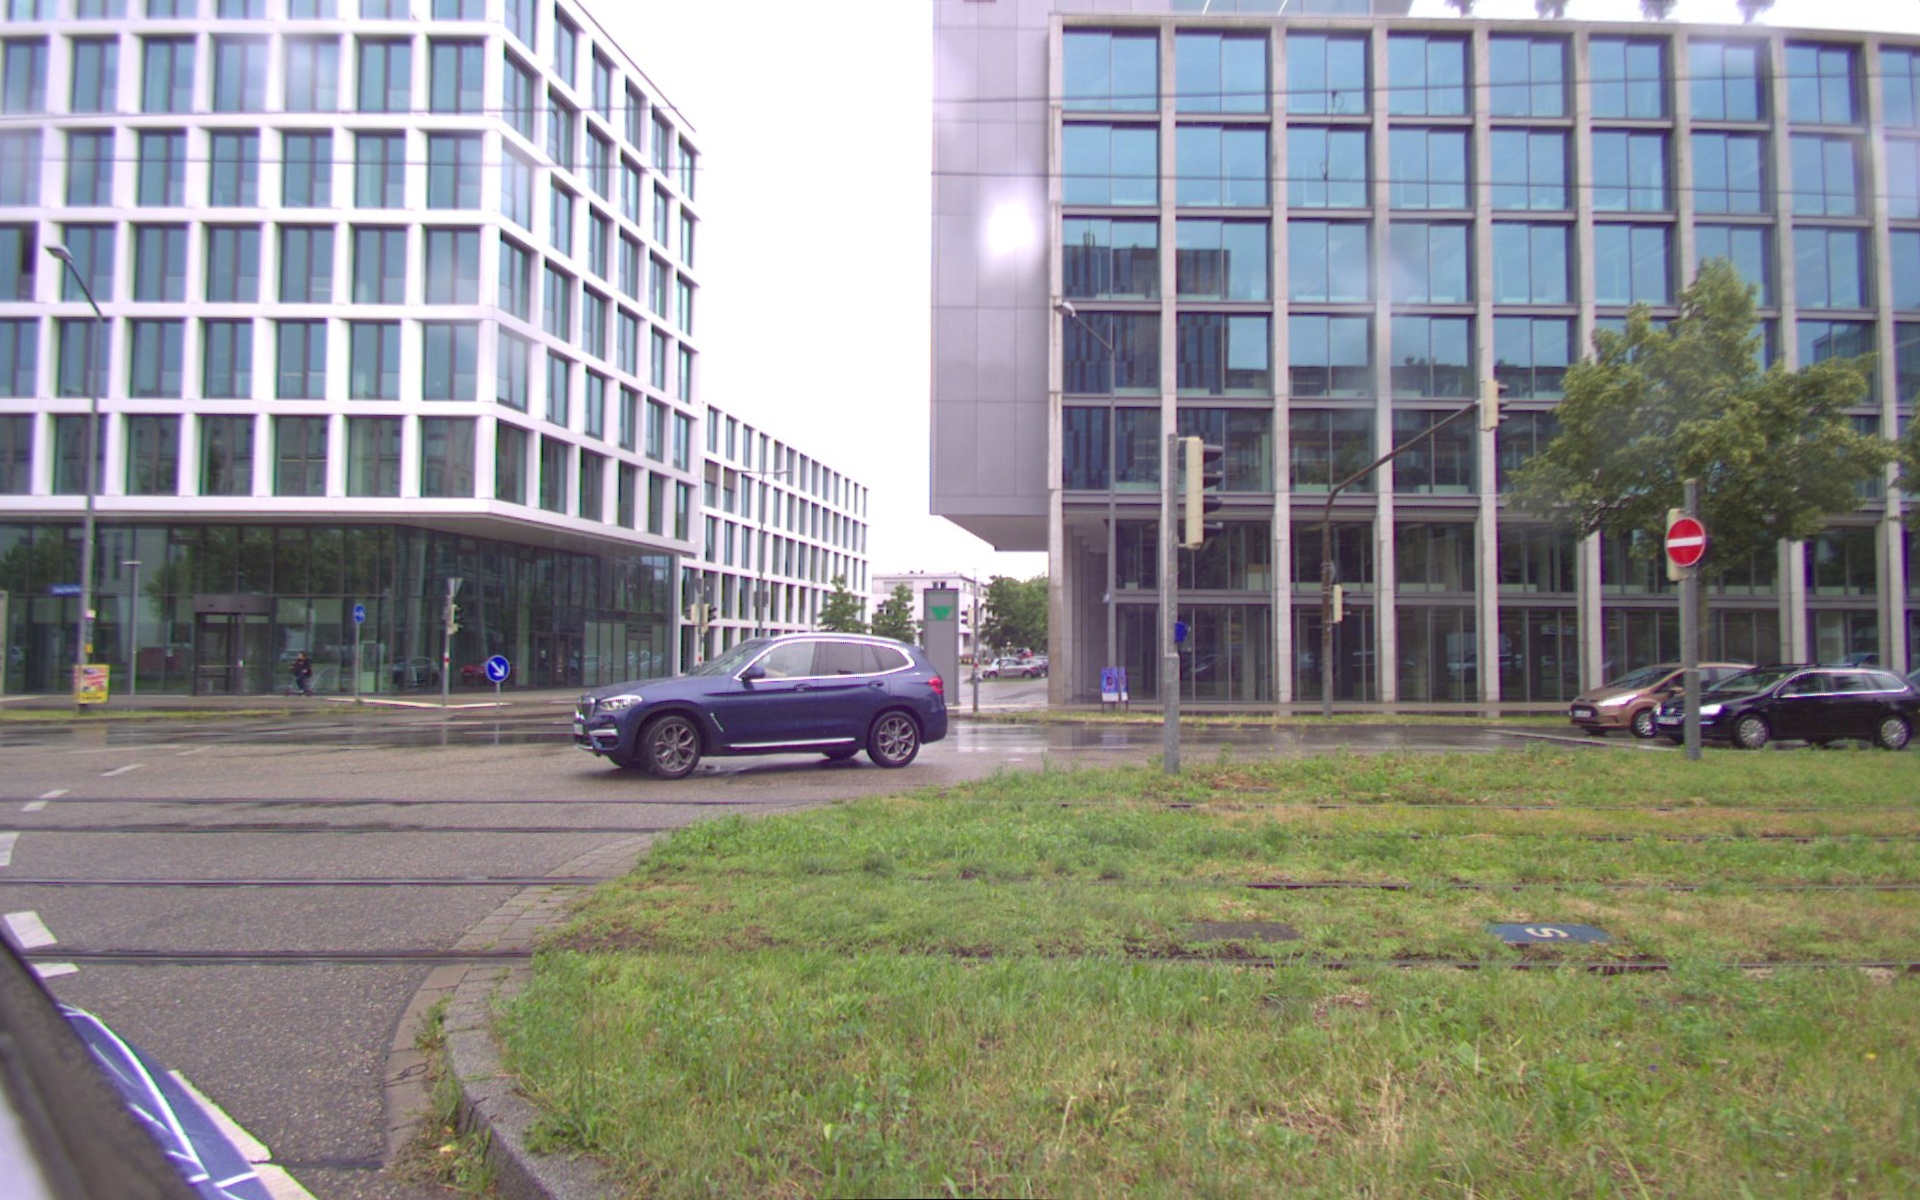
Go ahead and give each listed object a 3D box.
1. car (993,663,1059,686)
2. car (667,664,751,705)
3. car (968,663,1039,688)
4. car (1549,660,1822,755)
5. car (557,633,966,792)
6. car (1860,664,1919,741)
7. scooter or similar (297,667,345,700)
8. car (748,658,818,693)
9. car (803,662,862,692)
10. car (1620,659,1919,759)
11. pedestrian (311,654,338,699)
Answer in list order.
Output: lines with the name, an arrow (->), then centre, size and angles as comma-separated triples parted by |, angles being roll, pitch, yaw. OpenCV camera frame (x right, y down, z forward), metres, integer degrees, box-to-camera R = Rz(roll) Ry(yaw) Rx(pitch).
car -> 4.952, 5.512, 75.237 | 4.614, 1.519, 1.992 | -3, -3, 13
car -> -9.964, 3.344, 40.527 | 1.865, 1.447, 4.084 | -2, -3, 8
car -> 3.063, 5.232, 70.364 | 4.614, 1.519, 1.992 | -3, -3, 13
car -> 15.011, 2.195, 21.117 | 4.210, 1.707, 1.958 | -2, -3, -2
car -> -2.416, 1.310, 12.678 | 4.634, 1.673, 1.935 | 2, -4, -30
car -> 22.104, 2.115, 21.489 | 4.209, 1.552, 1.958 | -2, -3, -3
scooter or similar -> -24.073, 3.120, 38.181 | 0.542, 1.161, 2.164 | -2, -3, -3
car -> -8.230, 3.493, 47.427 | 1.868, 1.447, 4.078 | -3, -3, 12
car -> -6.790, 4.102, 54.167 | 1.868, 1.447, 4.078 | -3, -3, 12
car -> 14.636, 1.885, 18.019 | 4.399, 1.571, 1.957 | -1, -3, -1
pedestrian -> -24.009, 2.888, 38.233 | 0.538, 1.656, 0.635 | 1, -3, 0
